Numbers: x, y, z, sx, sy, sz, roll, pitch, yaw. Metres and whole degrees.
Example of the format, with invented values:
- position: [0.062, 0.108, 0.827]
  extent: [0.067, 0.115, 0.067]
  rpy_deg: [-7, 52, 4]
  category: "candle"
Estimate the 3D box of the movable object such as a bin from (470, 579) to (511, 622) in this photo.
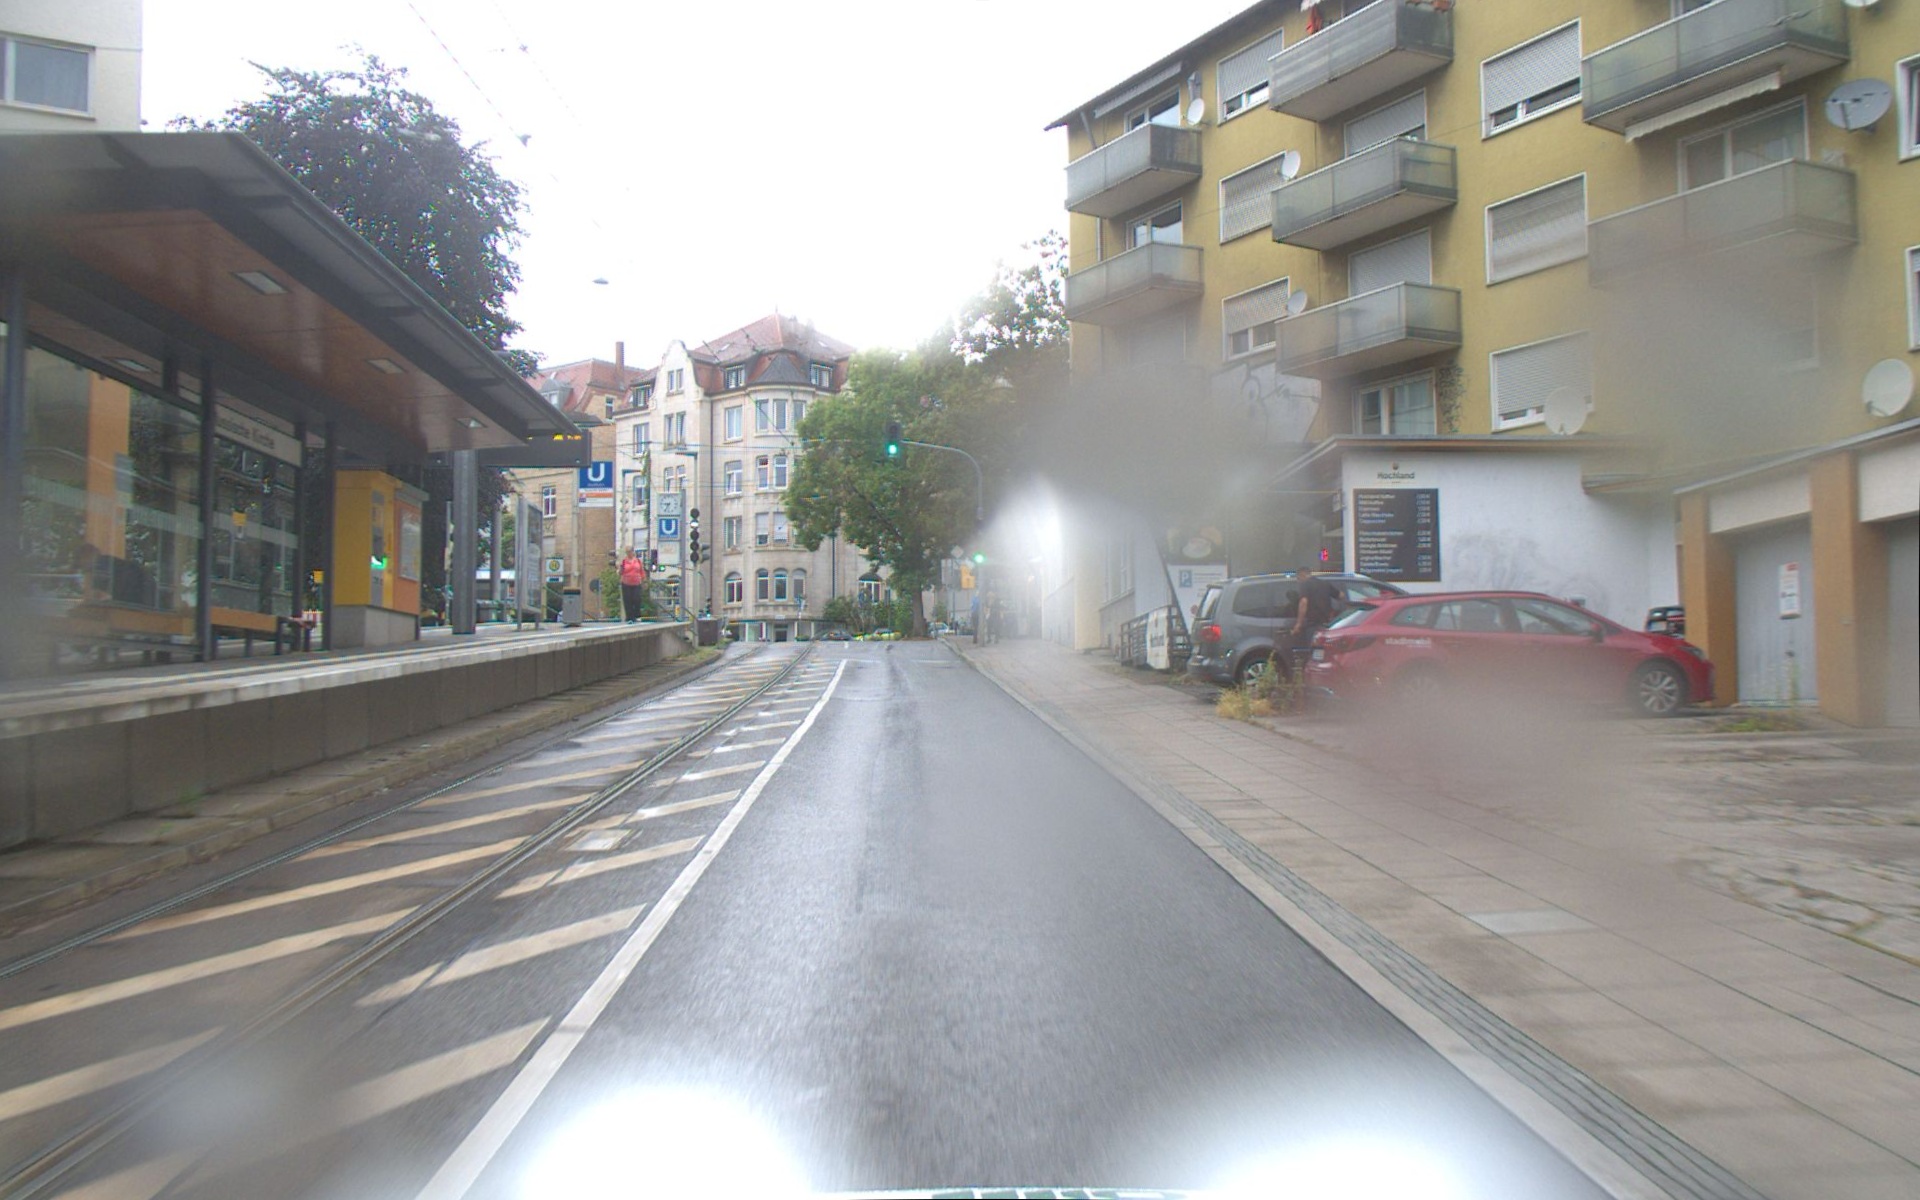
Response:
- position: [-16.236, 0.019, 57.255]
  extent: [1.000, 1.459, 1.444]
  rpy_deg: [1, 1, -1]
  category: "movable object such as a bin"

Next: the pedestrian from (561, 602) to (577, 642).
- position: [-16.739, 0.938, 70.829]
  extent: [0.558, 1.713, 0.774]
  rpy_deg: [-2, -1, -10]
  category: "pedestrian"

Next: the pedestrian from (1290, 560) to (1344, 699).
- position: [4.612, 0.368, 21.413]
  extent: [0.593, 1.743, 0.722]
  rpy_deg: [-2, 1, 10]
  category: "pedestrian"

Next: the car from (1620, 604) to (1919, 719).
- position: [11.744, 0.833, 22.940]
  extent: [4.421, 1.426, 1.780]
  rpy_deg: [-2, -3, -1]
  category: "car"

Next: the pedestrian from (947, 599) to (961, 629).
- position: [-0.336, 0.773, 90.945]
  extent: [0.539, 1.658, 0.594]
  rpy_deg: [1, 0, -36]
  category: "pedestrian"

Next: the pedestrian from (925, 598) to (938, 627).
- position: [-1.567, 0.712, 92.040]
  extent: [0.589, 1.593, 0.544]
  rpy_deg: [1, 0, -13]
  category: "pedestrian"

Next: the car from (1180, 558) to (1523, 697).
- position: [5.275, 0.356, 22.655]
  extent: [4.240, 1.703, 1.780]
  rpy_deg: [-2, 0, -1]
  category: "car"

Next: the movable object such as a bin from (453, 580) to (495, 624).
- position: [-16.331, 0.056, 55.653]
  extent: [1.000, 1.459, 1.355]
  rpy_deg: [1, 1, -1]
  category: "movable object such as a bin"

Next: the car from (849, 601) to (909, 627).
- position: [-5.234, 0.895, 106.686]
  extent: [3.644, 1.534, 1.709]
  rpy_deg: [-2, 0, -45]
  category: "car"

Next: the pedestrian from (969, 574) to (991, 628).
- position: [0.602, 0.034, 49.533]
  extent: [0.576, 1.581, 0.649]
  rpy_deg: [-2, 1, -3]
  category: "pedestrian"

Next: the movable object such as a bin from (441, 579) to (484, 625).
- position: [-16.274, 0.068, 54.116]
  extent: [1.000, 1.459, 1.304]
  rpy_deg: [1, 1, -1]
  category: "movable object such as a bin"

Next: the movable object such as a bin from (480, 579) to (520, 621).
- position: [-16.424, -0.015, 59.052]
  extent: [1.000, 1.459, 1.427]
  rpy_deg: [1, 1, -1]
  category: "movable object such as a bin"

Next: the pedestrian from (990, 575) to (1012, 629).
- position: [1.238, 0.058, 49.888]
  extent: [0.535, 1.581, 0.558]
  rpy_deg: [-2, 1, -5]
  category: "pedestrian"

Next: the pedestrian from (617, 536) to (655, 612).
- position: [-6.789, -0.548, 34.664]
  extent: [0.657, 1.575, 0.771]
  rpy_deg: [-1, 1, -3]
  category: "pedestrian"

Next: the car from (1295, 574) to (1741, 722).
- position: [6.282, 0.509, 18.927]
  extent: [4.478, 1.462, 1.764]
  rpy_deg: [-2, 0, -3]
  category: "car"
